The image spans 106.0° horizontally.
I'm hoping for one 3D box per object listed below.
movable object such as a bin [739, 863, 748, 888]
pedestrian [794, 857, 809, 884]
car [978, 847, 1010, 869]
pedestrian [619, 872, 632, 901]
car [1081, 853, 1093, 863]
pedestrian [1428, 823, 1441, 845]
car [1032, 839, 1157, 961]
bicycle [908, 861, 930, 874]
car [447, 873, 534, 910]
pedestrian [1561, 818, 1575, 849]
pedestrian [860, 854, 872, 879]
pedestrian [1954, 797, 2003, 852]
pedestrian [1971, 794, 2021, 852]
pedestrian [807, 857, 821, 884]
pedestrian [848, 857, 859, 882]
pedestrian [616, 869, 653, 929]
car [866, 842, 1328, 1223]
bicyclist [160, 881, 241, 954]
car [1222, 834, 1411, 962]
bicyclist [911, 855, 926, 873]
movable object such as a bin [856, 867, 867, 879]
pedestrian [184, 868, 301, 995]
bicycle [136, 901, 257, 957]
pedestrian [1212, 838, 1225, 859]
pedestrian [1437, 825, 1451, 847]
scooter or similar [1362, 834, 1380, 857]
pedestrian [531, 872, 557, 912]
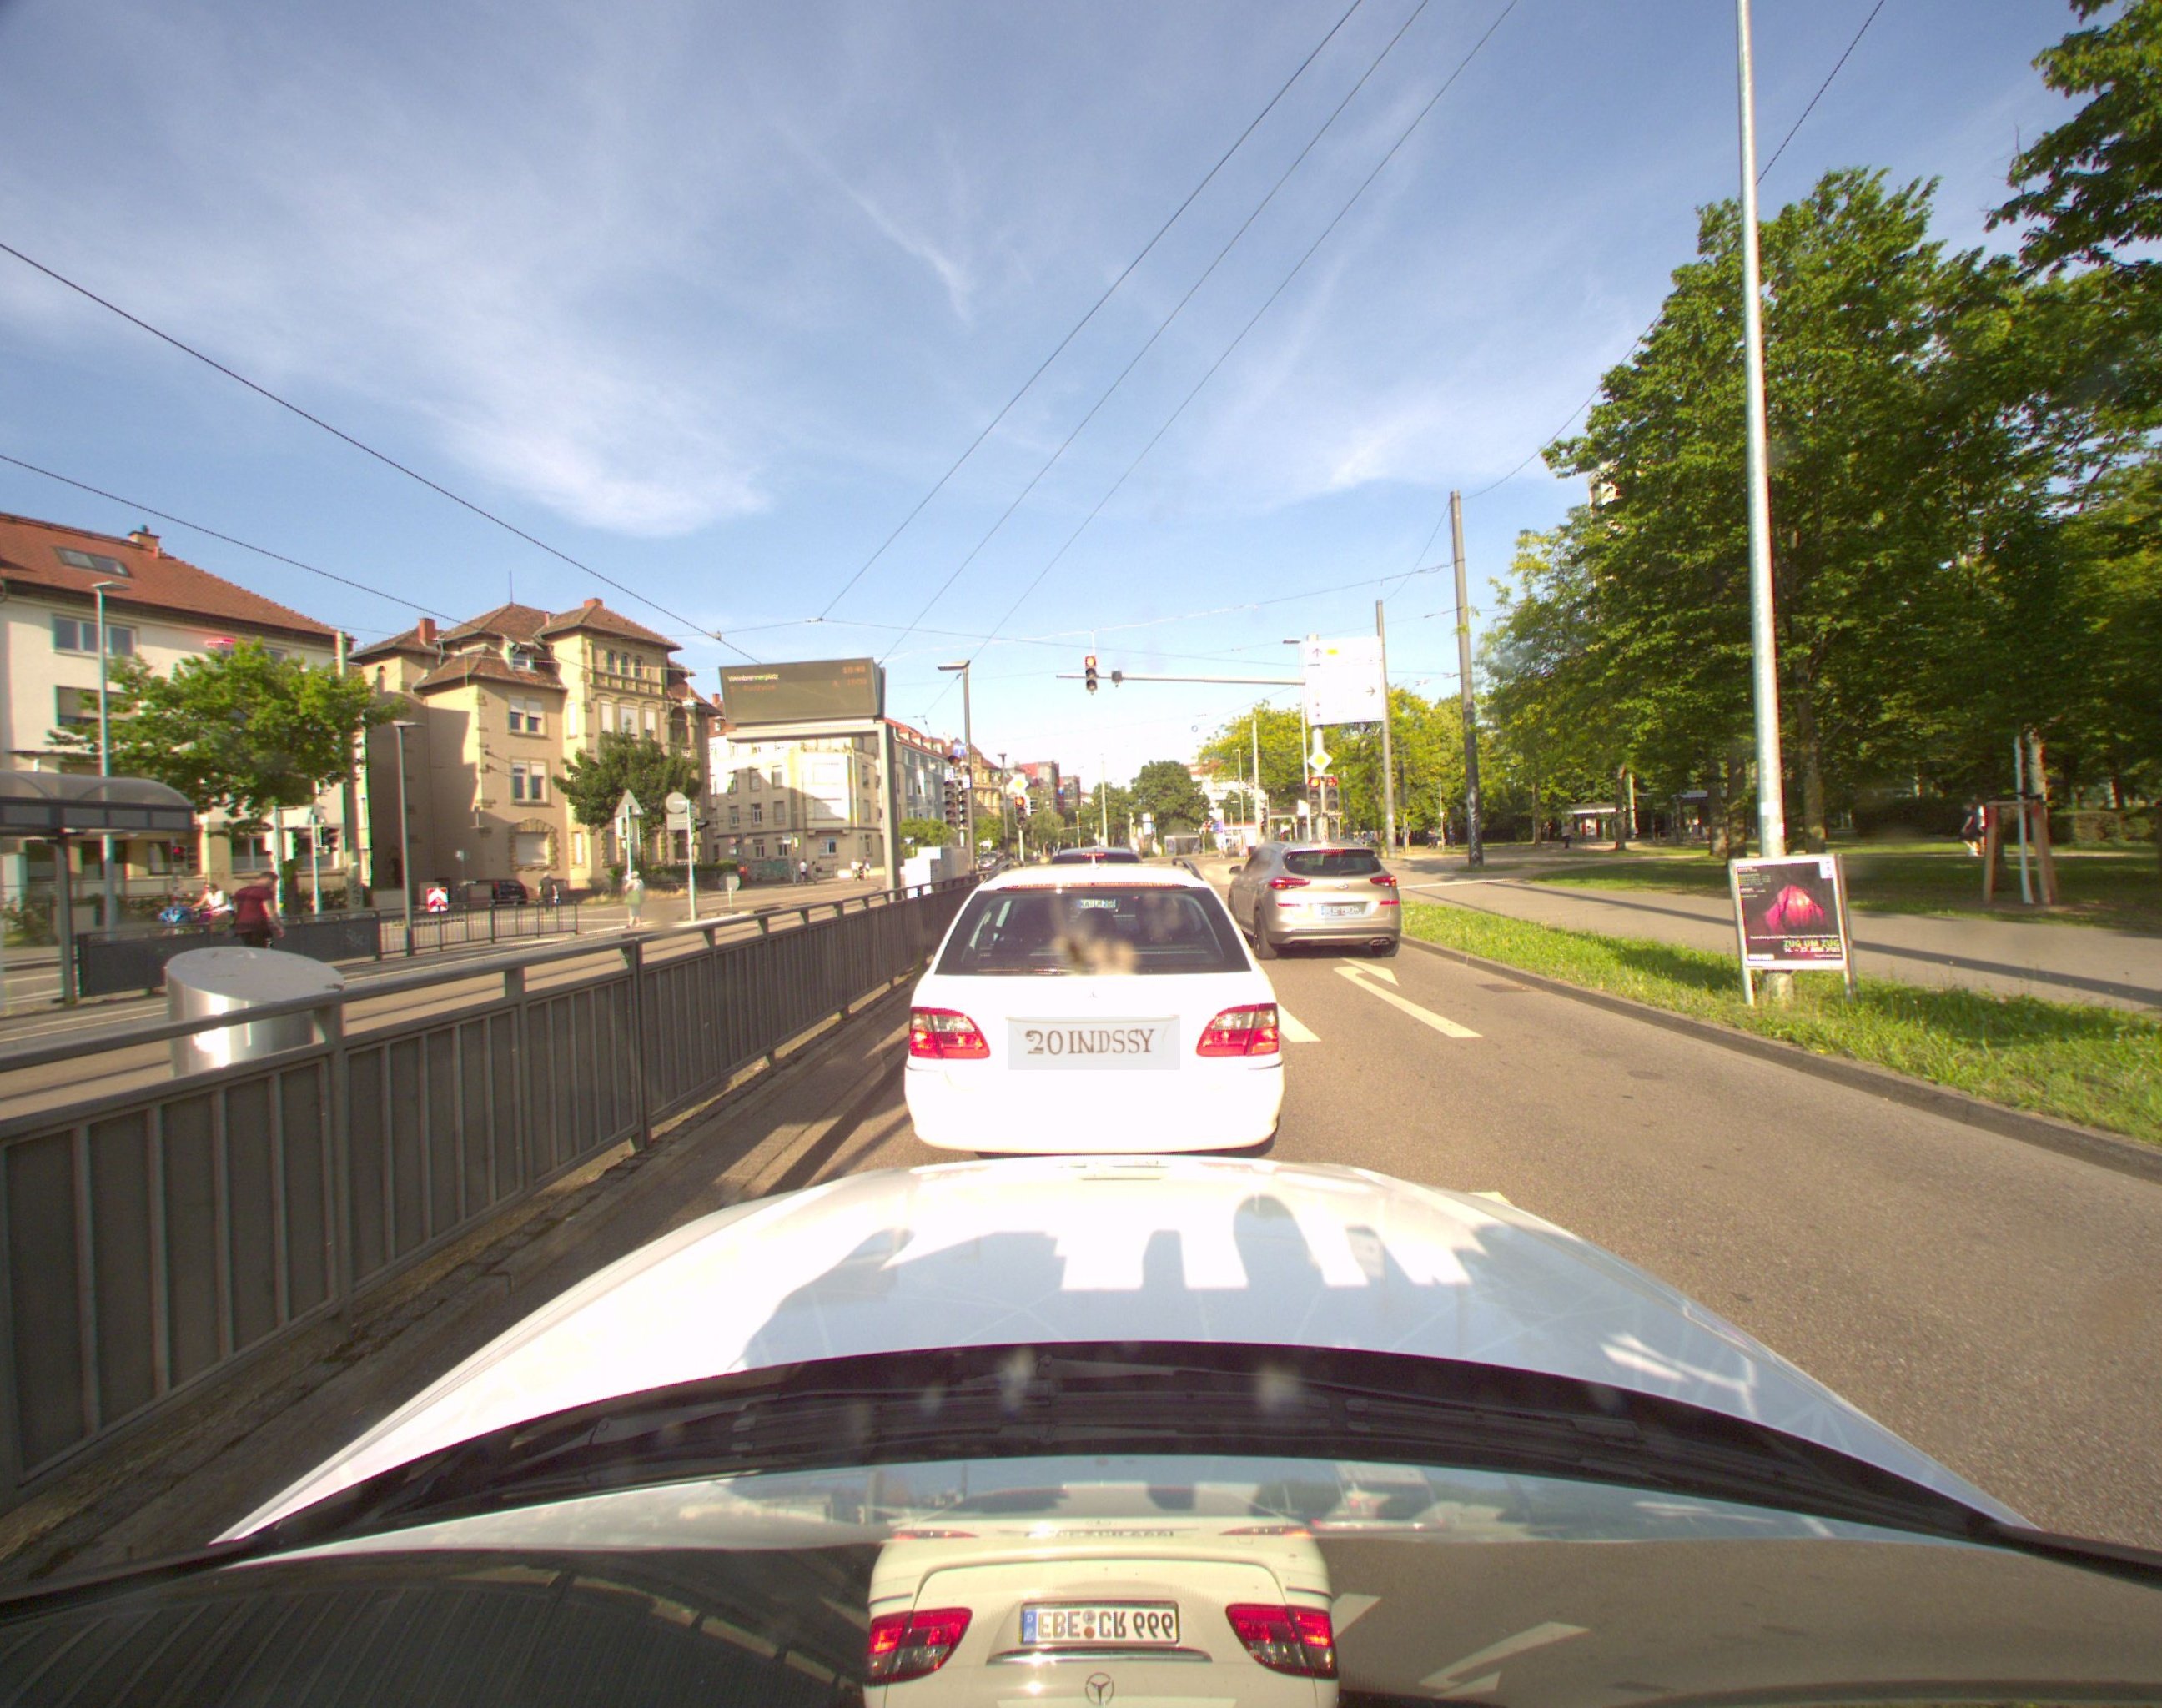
[{"bbox_3d":[-23.509,1.516,56.689,0.265,1.709,2.360,-3,0,-29],"label":"movable object such as a bin"},{"bbox_3d":[-19.734,1.182,57.548,0.653,1.881,0.629,-3,0,16],"label":"pedestrian"},{"bbox_3d":[-8.487,0.388,80.136,2.136,2.013,5.393,-3,0,4],"label":"car"},{"bbox_3d":[-24.617,1.751,44.022,0.400,1.515,0.392,-3,0,28],"label":"pedestrian"},{"bbox_3d":[1.040,0.698,136.911,1.670,1.525,4.128,-3,1,3],"label":"car"},{"bbox_3d":[27.437,-1.534,63.253,0.638,1.665,0.691,-3,0,1],"label":"pedestrian"},{"bbox_3d":[0.242,0.607,12.784,1.635,1.600,3.817,-1,0,2],"label":"car"},{"bbox_3d":[-14.579,1.196,73.324,0.733,1.006,2.010,-3,0,36],"label":"bicycle"},{"bbox_3d":[-29.420,1.876,40.557,3.950,1.632,1.787,-3,1,26],"label":"car"},{"bbox_3d":[29.224,-1.212,48.847,0.464,1.868,0.598,0,-1,-44],"label":"pedestrian"},{"bbox_3d":[-16.738,0.984,63.420,0.582,1.880,0.627,-3,4,-1],"label":"pedestrian"},{"bbox_3d":[29.658,-0.949,26.919,0.668,1.777,0.881,0,0,3],"label":"pedestrian"},{"bbox_3d":[30.432,-1.026,27.109,0.668,1.897,0.880,0,0,3],"label":"pedestrian"},{"bbox_3d":[-18.828,1.160,57.449,0.672,1.848,0.649,-3,0,-1],"label":"pedestrian"},{"bbox_3d":[-17.600,1.176,62.981,0.582,1.881,0.626,-3,0,-1],"label":"pedestrian"},{"bbox_3d":[-12.415,1.232,22.664,0.588,1.589,0.715,-3,0,-2],"label":"pedestrian"},{"bbox_3d":[0.122,0.711,5.181,1.828,1.501,3.817,-1,0,2],"label":"car"},{"bbox_3d":[-20.583,1.458,19.054,0.702,1.624,1.073,0,1,3],"label":"bicyclist"},{"bbox_3d":[3.335,0.557,12.292,1.828,1.600,3.817,-1,0,2],"label":"car"},{"bbox_3d":[-14.632,0.931,73.257,0.653,1.569,1.050,-3,0,34],"label":"bicyclist"},{"bbox_3d":[-17.243,1.500,64.015,0.581,0.947,0.663,-3,0,0],"label":"movable object such as a bin"},{"bbox_3d":[-11.853,1.062,11.543,0.668,1.670,0.883,-3,0,-1],"label":"pedestrian"},{"bbox_3d":[-20.587,1.716,19.019,0.722,1.110,1.866,0,0,3],"label":"bicycle"},{"bbox_3d":[14.059,-0.574,82.990,0.986,2.013,0.833,-3,0,29],"label":"pedestrian"},{"bbox_3d":[27.662,-1.349,62.073,0.638,1.665,0.691,-3,0,1],"label":"pedestrian"},{"bbox_3d":[16.110,-0.446,45.222,0.351,1.232,1.131,-3,0,-12],"label":"scooter or similar"},{"bbox_3d":[-22.857,1.607,34.677,0.672,1.651,0.608,-3,0,28],"label":"pedestrian"}]
